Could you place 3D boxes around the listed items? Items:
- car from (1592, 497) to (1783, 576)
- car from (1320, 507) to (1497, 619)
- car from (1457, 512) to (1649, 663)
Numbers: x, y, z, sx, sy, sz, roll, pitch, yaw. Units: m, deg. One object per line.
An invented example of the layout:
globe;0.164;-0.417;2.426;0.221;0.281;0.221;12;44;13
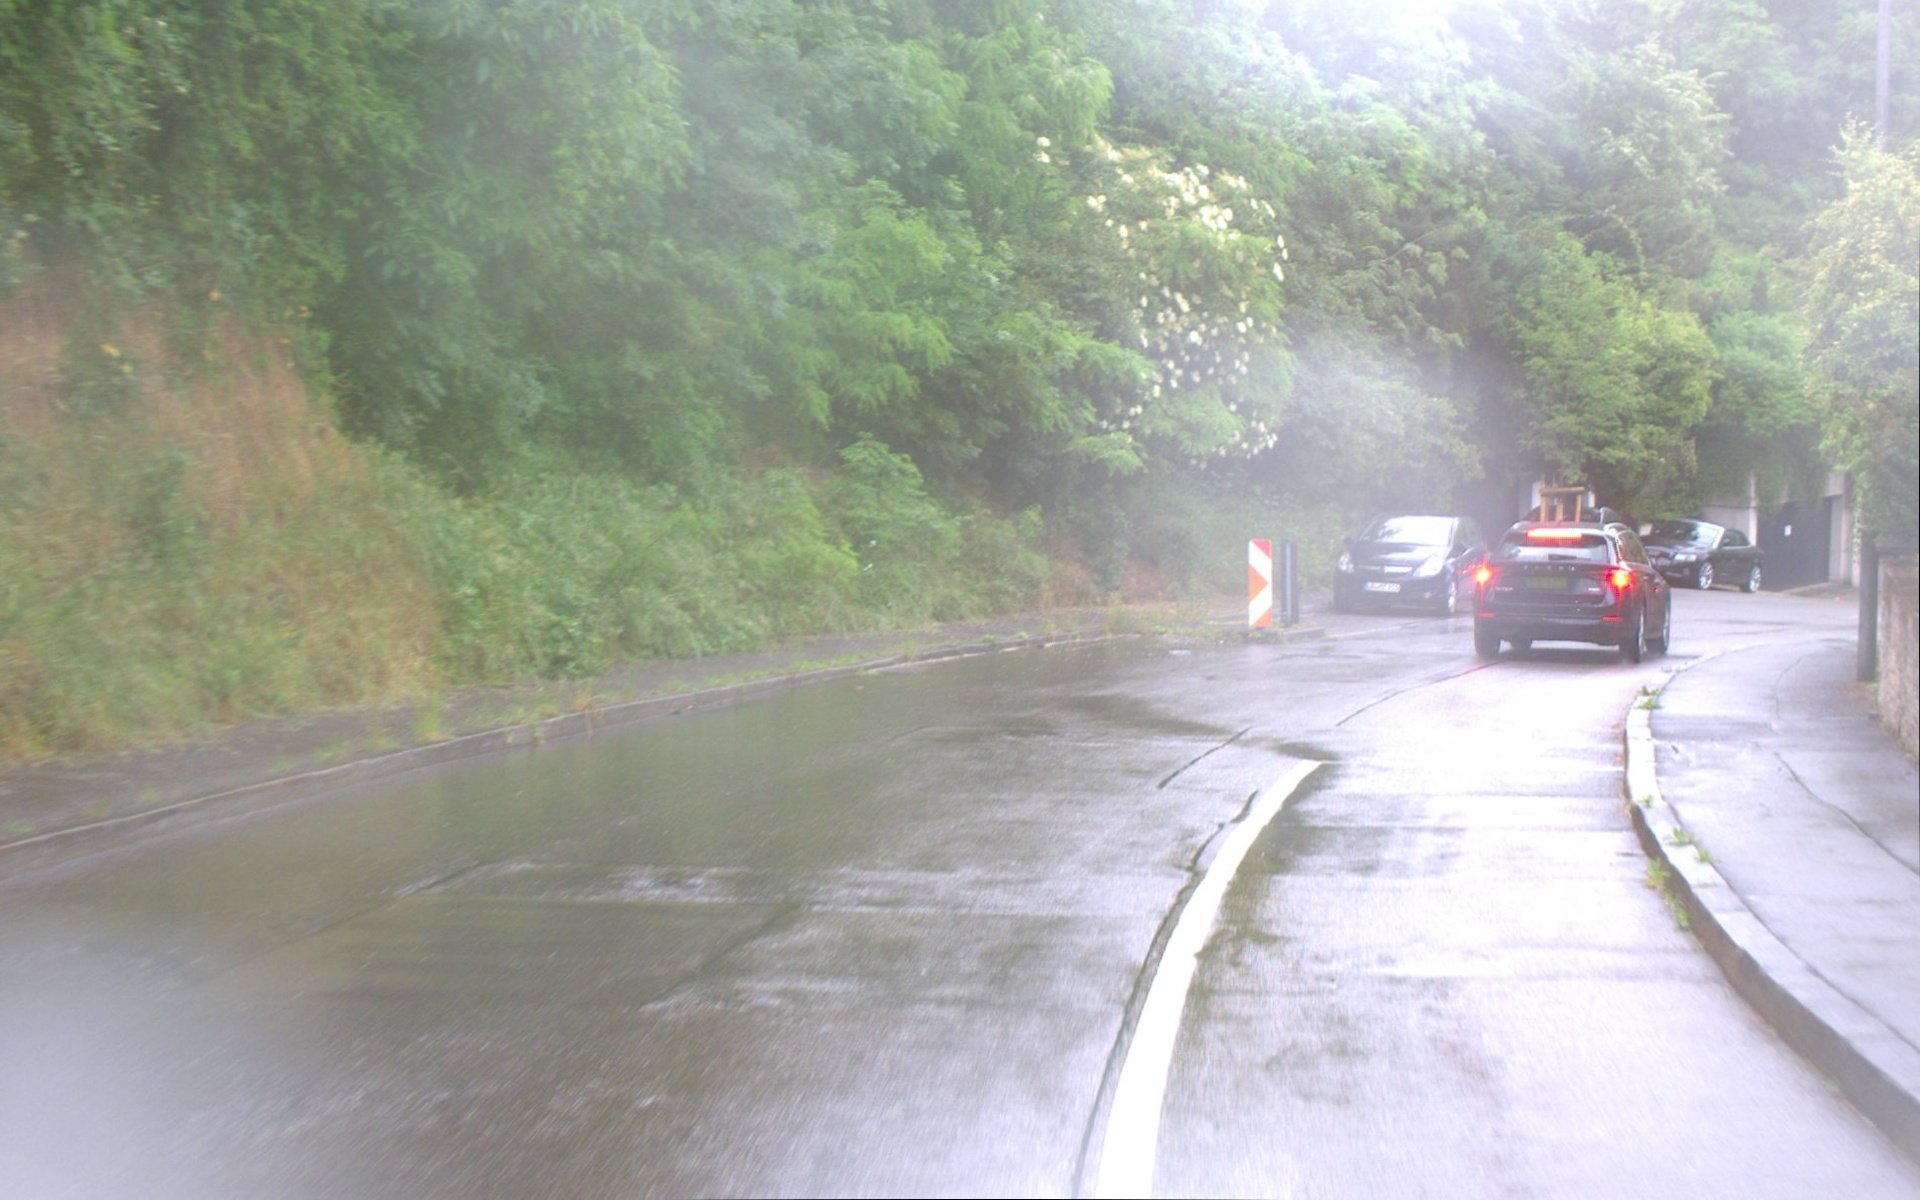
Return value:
car;15.311;-1.326;72.243;1.998;1.503;4.560;4;3;39
car;6.562;-0.576;49.978;1.701;1.466;3.996;3;3;19
car;6.518;-0.181;37.503;1.869;1.507;4.091;1;2;12
